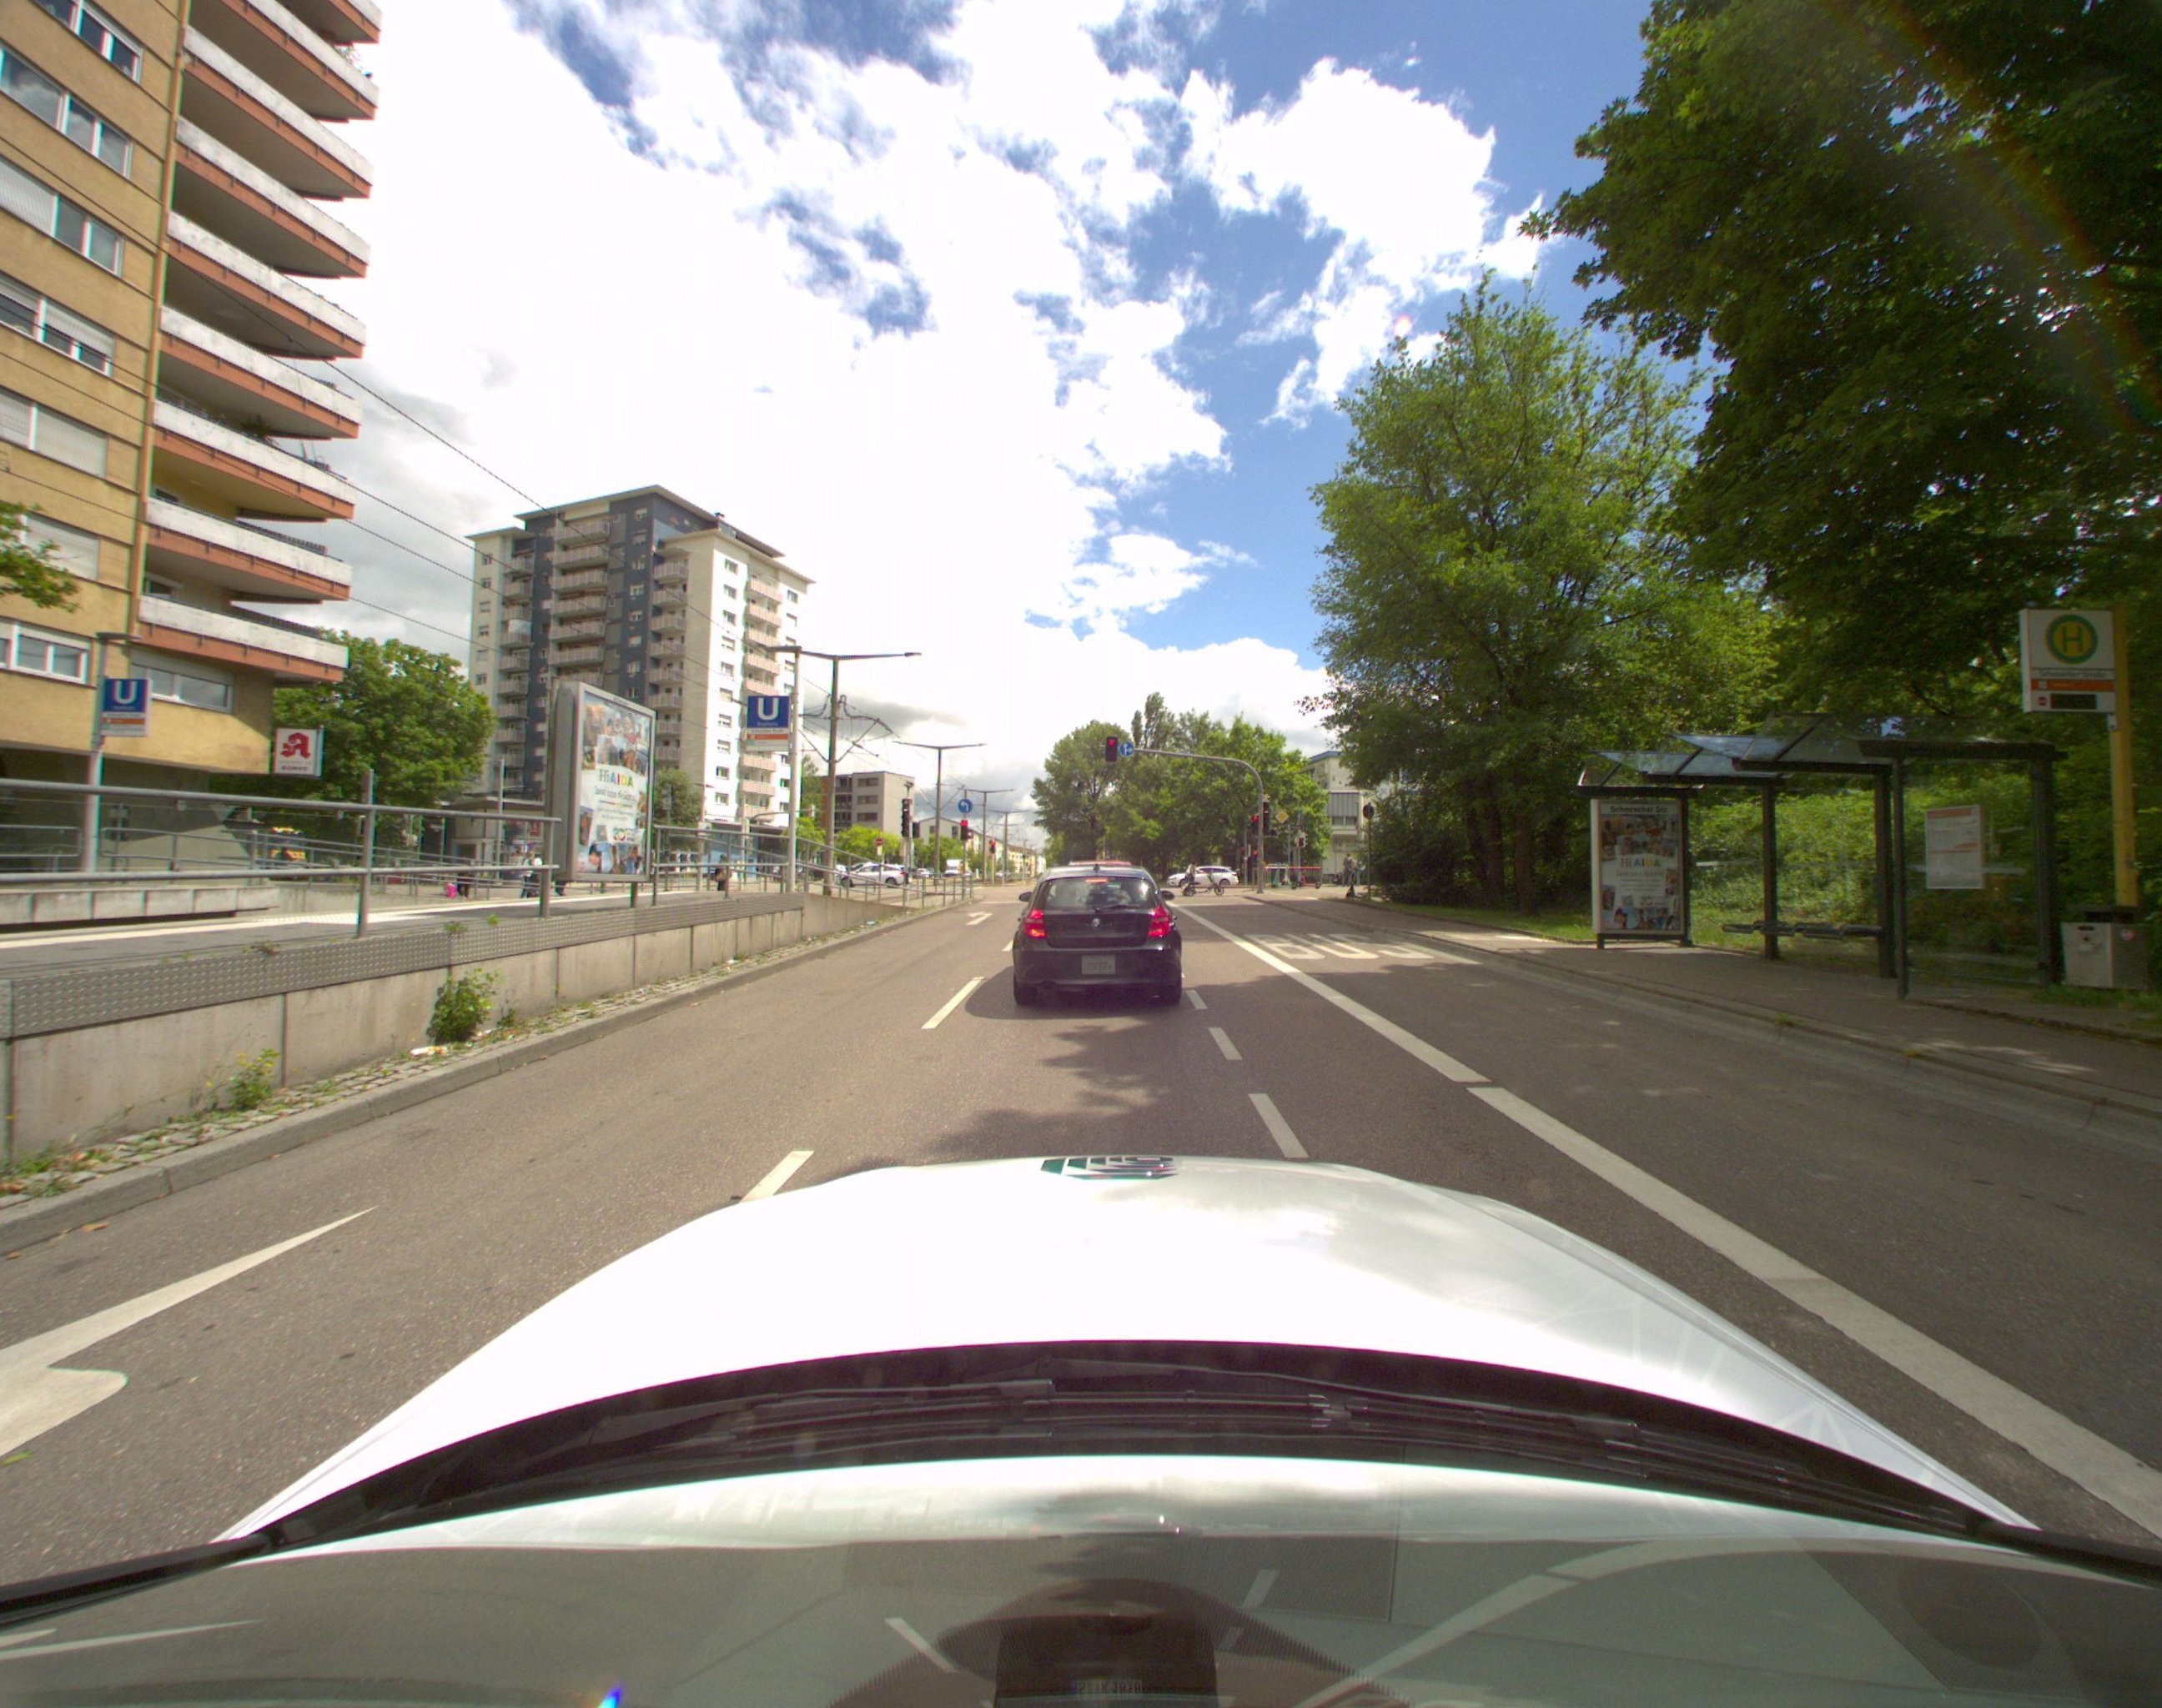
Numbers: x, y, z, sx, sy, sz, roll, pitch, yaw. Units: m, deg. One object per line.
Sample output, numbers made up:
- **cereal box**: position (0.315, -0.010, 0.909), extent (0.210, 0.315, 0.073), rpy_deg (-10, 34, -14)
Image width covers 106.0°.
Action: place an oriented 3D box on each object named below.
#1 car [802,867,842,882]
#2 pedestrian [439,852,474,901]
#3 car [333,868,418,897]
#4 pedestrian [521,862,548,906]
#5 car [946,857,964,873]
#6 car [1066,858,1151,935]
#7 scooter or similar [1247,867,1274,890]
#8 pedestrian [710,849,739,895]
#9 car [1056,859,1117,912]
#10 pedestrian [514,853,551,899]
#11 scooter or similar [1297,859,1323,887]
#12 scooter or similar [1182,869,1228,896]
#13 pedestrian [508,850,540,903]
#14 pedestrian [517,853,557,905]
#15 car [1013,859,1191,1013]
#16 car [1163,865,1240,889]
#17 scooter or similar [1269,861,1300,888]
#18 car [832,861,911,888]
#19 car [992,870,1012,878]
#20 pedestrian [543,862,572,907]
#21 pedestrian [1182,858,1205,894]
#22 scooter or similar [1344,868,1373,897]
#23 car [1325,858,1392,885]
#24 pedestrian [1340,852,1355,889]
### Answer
- **car**: position (-25.994, 2.048, 81.756), extent (3.600, 1.462, 1.612), rpy_deg (-1, 0, -7)
- **pedestrian**: position (-20.314, 0.719, 26.483), extent (0.602, 1.583, 0.779), rpy_deg (-1, -1, 37)
- **car**: position (-44.099, 1.775, 50.965), extent (3.674, 1.680, 1.742), rpy_deg (-1, 0, -3)
- **pedestrian**: position (-17.188, 0.933, 25.605), extent (0.660, 1.343, 0.558), rpy_deg (-1, -1, 44)
- **car**: position (-21.181, 1.866, 136.612), extent (2.132, 2.640, 5.358), rpy_deg (0, 0, 0)
- **car**: position (0.596, 0.802, 17.016), extent (1.588, 1.419, 3.519), rpy_deg (-1, 0, 2)
- **scooter or similar**: position (7.686, 1.025, 34.838), extent (1.121, 0.957, 0.299), rpy_deg (-1, -1, -14)
- **pedestrian**: position (-12.868, 0.631, 29.402), extent (0.698, 1.632, 0.638), rpy_deg (-1, -1, 2)
- **car**: position (0.164, 0.877, 23.901), extent (1.649, 1.419, 3.516), rpy_deg (0, 0, 0)
- **pedestrian**: position (-18.977, 0.750, 28.169), extent (0.853, 1.578, 0.625), rpy_deg (0, -1, 6)
- **scooter or similar**: position (10.376, 0.859, 36.869), extent (1.107, 1.258, 0.331), rpy_deg (-1, -1, -11)
- **scooter or similar**: position (4.953, 1.121, 32.601), extent (1.778, 1.051, 0.410), rpy_deg (-1, 0, -6)
- **pedestrian**: position (-18.202, 0.734, 26.621), extent (0.816, 1.706, 0.686), rpy_deg (-1, -1, 41)
- **pedestrian**: position (-18.268, 0.827, 27.347), extent (0.854, 1.696, 0.689), rpy_deg (0, -1, 1)
- **car**: position (0.306, 0.776, 9.347), extent (1.647, 1.419, 3.520), rpy_deg (-1, 0, 3)
- **car**: position (7.838, 1.504, 53.373), extent (4.635, 1.480, 1.995), rpy_deg (-1, 0, -7)
- **scooter or similar**: position (9.031, 0.892, 36.074), extent (1.290, 1.189, 0.383), rpy_deg (-1, -1, -14)
- **car**: position (-12.924, 1.241, 50.566), extent (4.571, 1.526, 1.939), rpy_deg (-1, 0, -9)
- **car**: position (-16.273, 4.145, 167.244), extent (1.947, 1.596, 4.025), rpy_deg (-1, 0, 36)
- **pedestrian**: position (-16.217, 0.922, 25.246), extent (0.691, 1.343, 0.852), rpy_deg (0, 0, -29)
- **pedestrian**: position (4.552, 0.890, 32.964), extent (0.860, 1.442, 0.800), rpy_deg (-1, -1, 7)
- **scooter or similar**: position (10.760, 1.104, 31.582), extent (1.153, 1.099, 0.329), rpy_deg (0, -1, -22)
- **car**: position (17.392, 1.102, 51.119), extent (3.578, 1.601, 1.705), rpy_deg (0, -1, -11)
- **pedestrian**: position (13.305, 0.817, 40.678), extent (0.608, 1.790, 0.571), rpy_deg (3, -1, 20)
